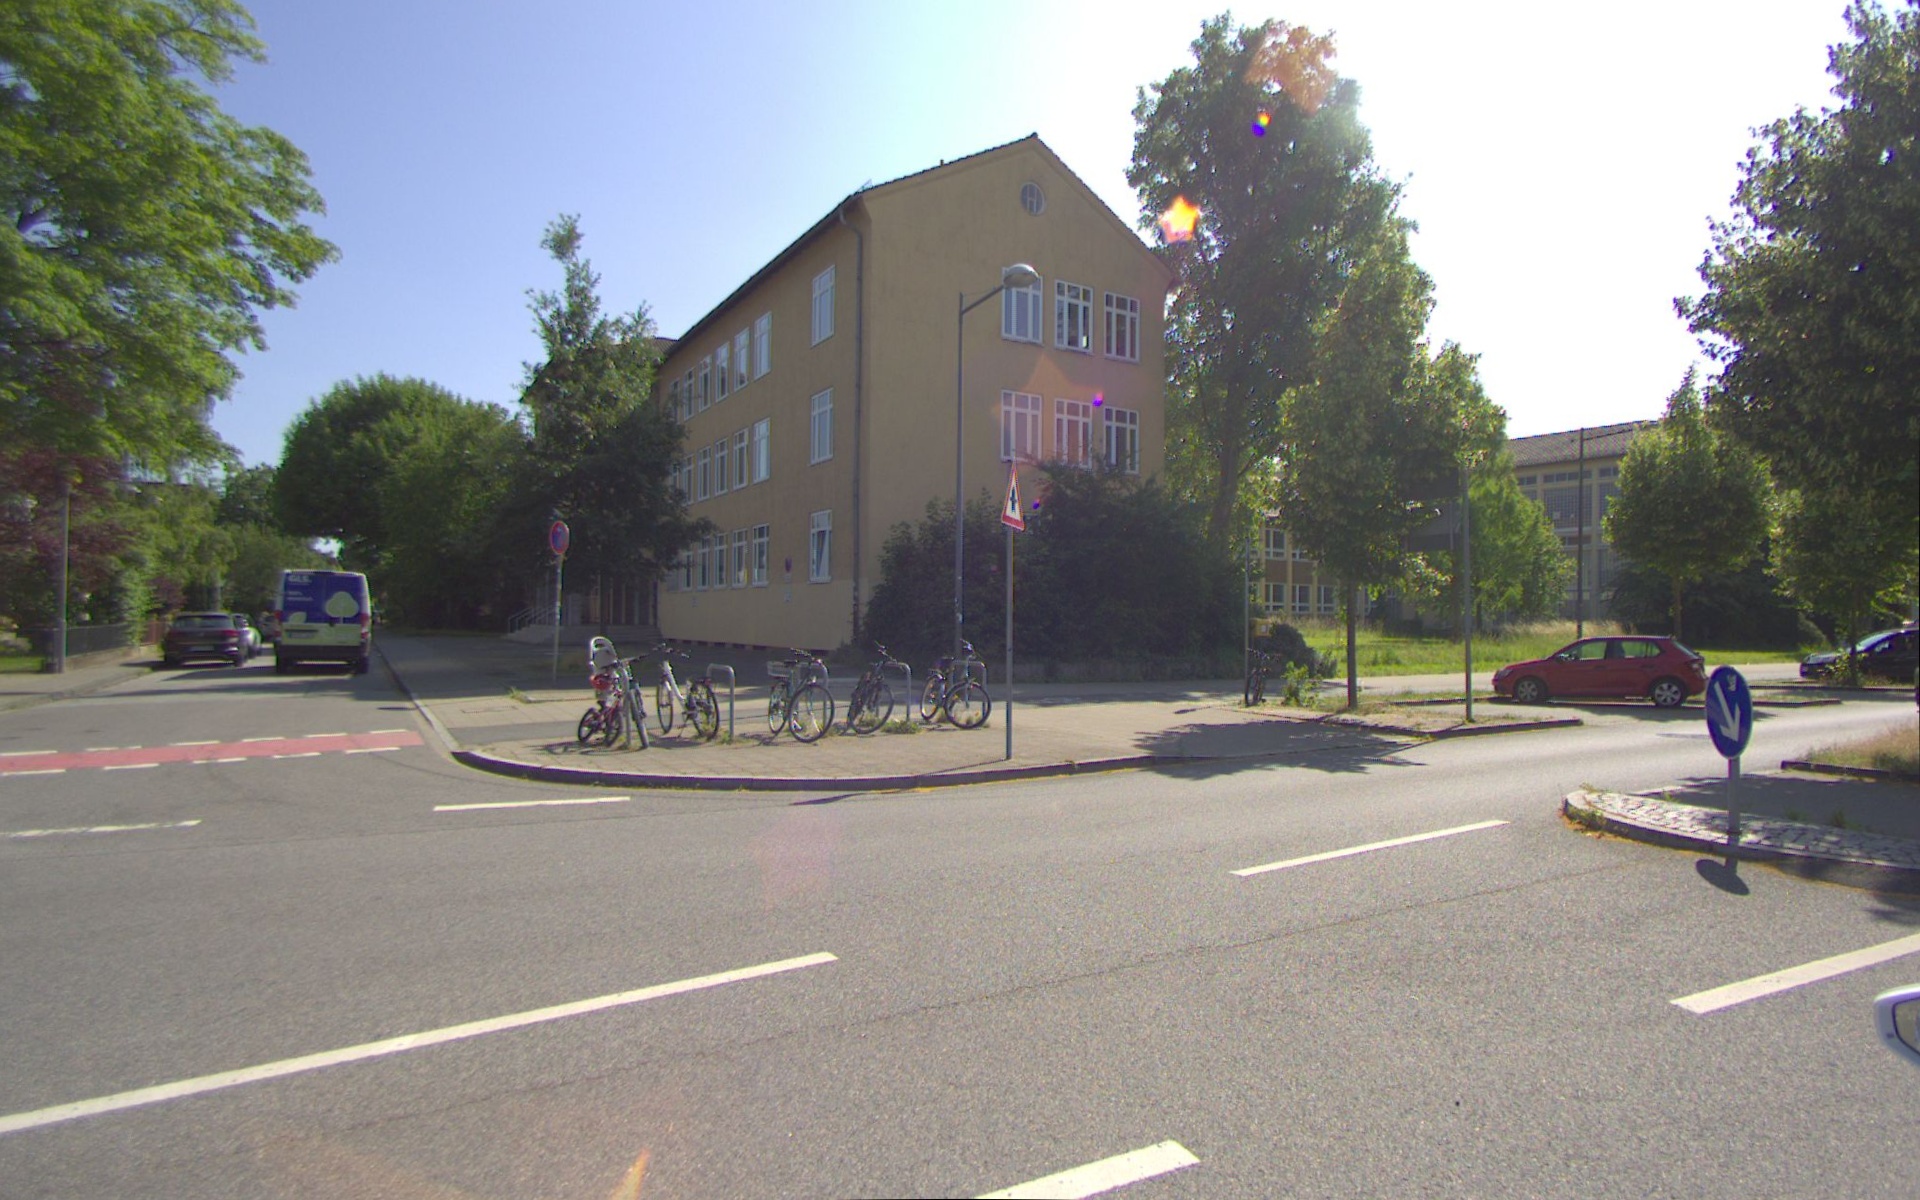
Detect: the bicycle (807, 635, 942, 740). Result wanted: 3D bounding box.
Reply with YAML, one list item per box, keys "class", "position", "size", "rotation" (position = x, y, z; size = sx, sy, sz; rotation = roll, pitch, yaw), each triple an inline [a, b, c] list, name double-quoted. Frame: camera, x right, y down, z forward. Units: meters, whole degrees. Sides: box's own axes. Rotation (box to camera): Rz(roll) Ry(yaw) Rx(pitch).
- class: "bicycle"
  position: [-1.222, 1.123, 13.658]
  size: [0.732, 1.273, 2.500]
  rotation: [0, -1, -33]

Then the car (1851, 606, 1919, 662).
- class: "car"
  position: [32.169, 1.140, 33.237]
  size: [3.708, 1.795, 1.815]
  rotation: [0, -1, 31]

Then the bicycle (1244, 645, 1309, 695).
- class: "bicycle"
  position: [5.950, 1.301, 18.868]
  size: [1.259, 0.915, 0.517]
  rotation: [2, -2, -37]

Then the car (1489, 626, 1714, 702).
- class: "car"
  position: [13.830, 1.324, 21.727]
  size: [3.938, 1.486, 1.992]
  rotation: [-2, -2, 38]

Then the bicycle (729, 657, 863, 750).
- class: "bicycle"
  position: [-2.165, 1.269, 12.888]
  size: [0.732, 1.000, 2.529]
  rotation: [0, -1, -33]

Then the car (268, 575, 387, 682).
- class: "car"
  position: [-17.041, 0.777, 27.362]
  size: [2.255, 2.557, 6.091]
  rotation: [1, -2, -28]

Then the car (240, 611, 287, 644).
- class: "car"
  position: [-37.557, 1.449, 54.239]
  size: [1.844, 1.728, 3.965]
  rotation: [0, -1, -32]

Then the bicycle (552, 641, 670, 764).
- class: "bicycle"
  position: [-4.216, 1.144, 11.989]
  size: [0.732, 1.273, 2.529]
  rotation: [0, -1, -33]

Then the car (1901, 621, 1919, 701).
- class: "car"
  position: [20.777, 1.220, 20.149]
  size: [4.026, 1.567, 1.733]
  rotation: [1, -2, -31]

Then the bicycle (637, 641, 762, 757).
- class: "bicycle"
  position: [-3.303, 1.163, 12.541]
  size: [0.732, 1.255, 2.529]
  rotation: [0, -1, -33]

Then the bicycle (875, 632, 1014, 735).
- class: "bicycle"
  position: [-0.280, 1.128, 14.324]
  size: [0.732, 1.273, 2.529]
  rotation: [1, -1, -33]

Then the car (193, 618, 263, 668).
- class: "car"
  position: [-24.583, 1.398, 33.810]
  size: [1.730, 1.572, 3.760]
  rotation: [0, -1, -34]

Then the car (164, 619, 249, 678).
- class: "car"
  position: [-21.533, 1.329, 28.821]
  size: [1.730, 1.572, 3.760]
  rotation: [0, -1, -34]

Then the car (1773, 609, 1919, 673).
- class: "car"
  position: [27.217, 1.199, 30.022]
  size: [4.107, 1.840, 2.004]
  rotation: [-1, -1, 21]
